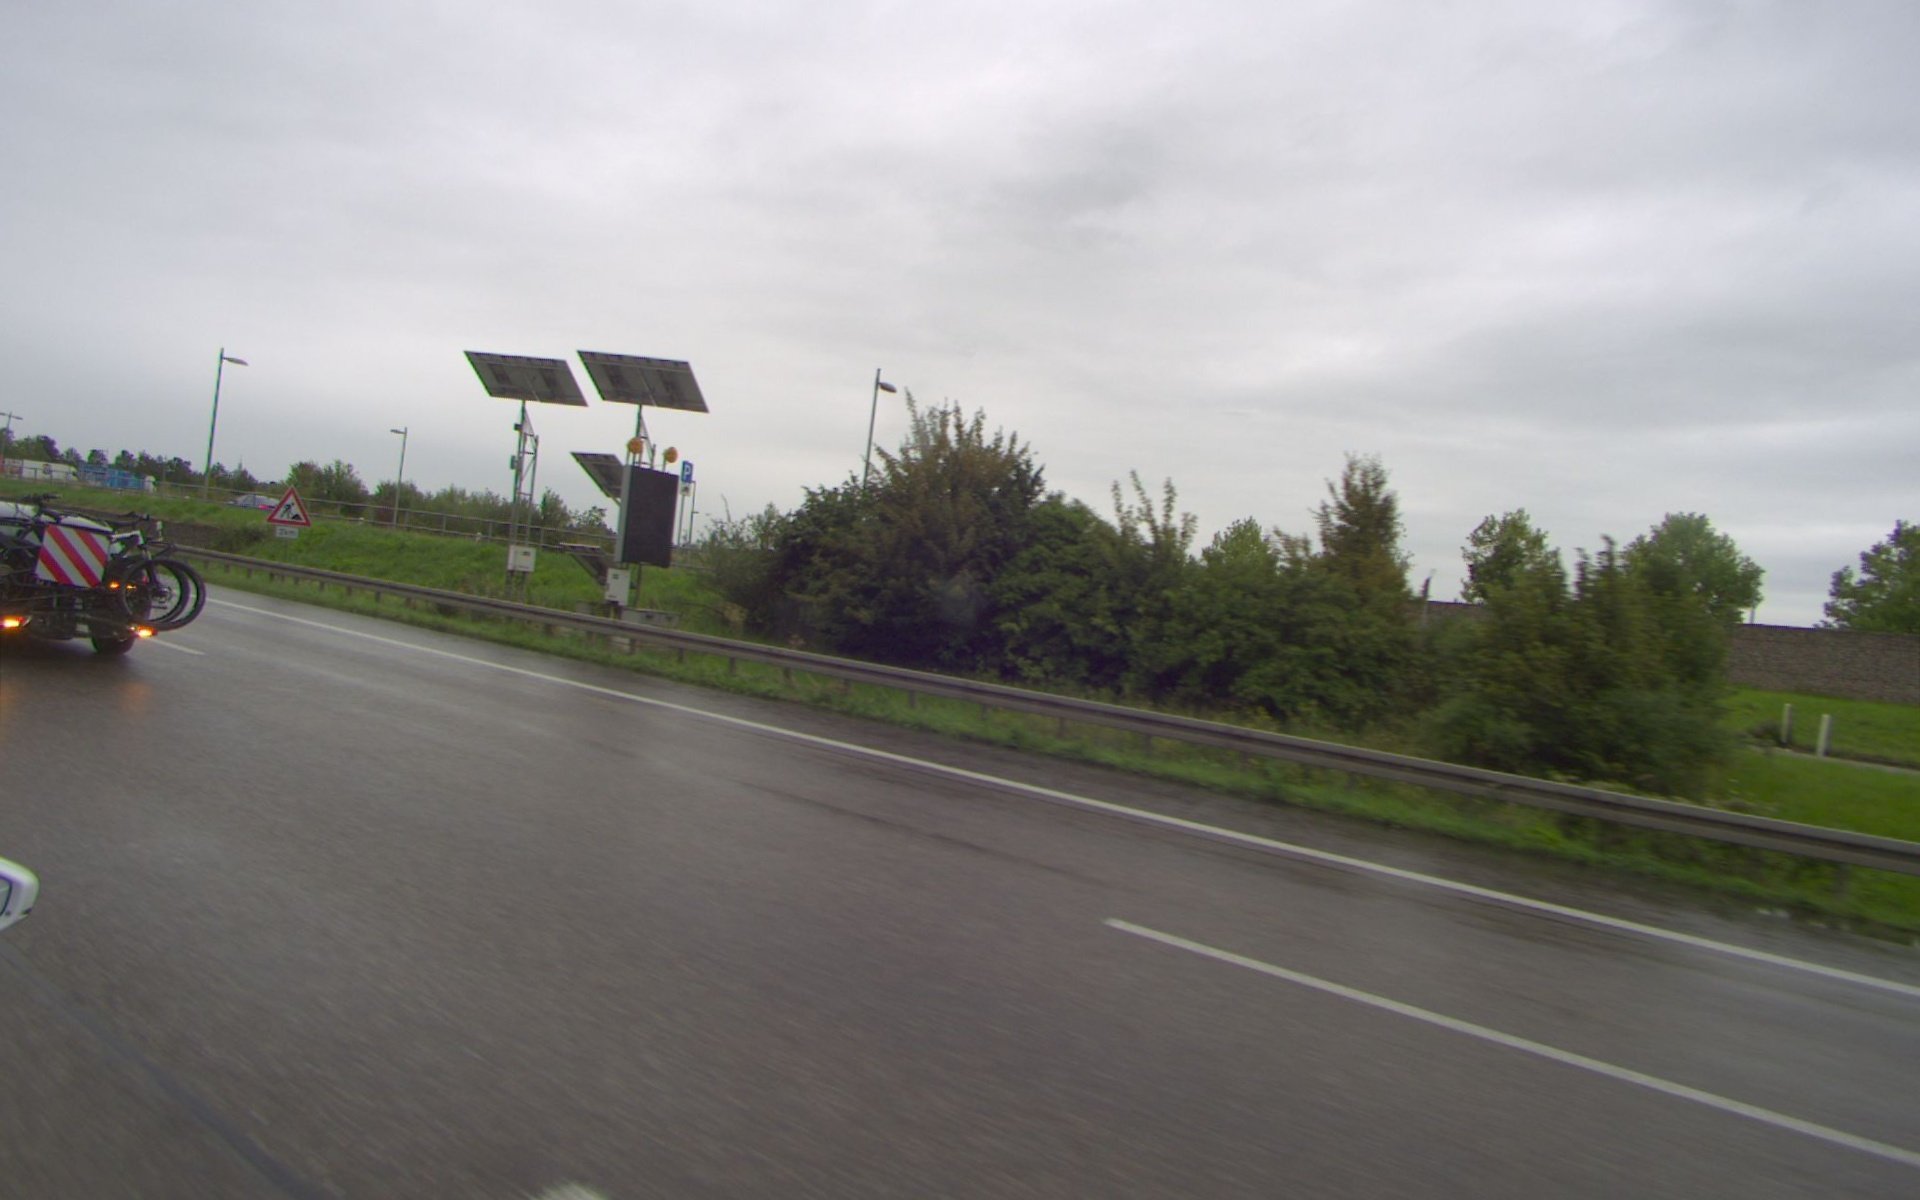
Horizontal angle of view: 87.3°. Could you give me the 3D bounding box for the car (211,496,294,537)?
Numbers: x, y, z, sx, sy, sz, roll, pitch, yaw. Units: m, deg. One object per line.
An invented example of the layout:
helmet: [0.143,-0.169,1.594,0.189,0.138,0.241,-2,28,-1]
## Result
car: [-37.550,-4.415,53.369,3.929,1.645,1.792,7,0,25]

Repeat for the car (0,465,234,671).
car: [-10.180,-0.468,10.611,5.431,1.691,2.061,6,-2,32]
